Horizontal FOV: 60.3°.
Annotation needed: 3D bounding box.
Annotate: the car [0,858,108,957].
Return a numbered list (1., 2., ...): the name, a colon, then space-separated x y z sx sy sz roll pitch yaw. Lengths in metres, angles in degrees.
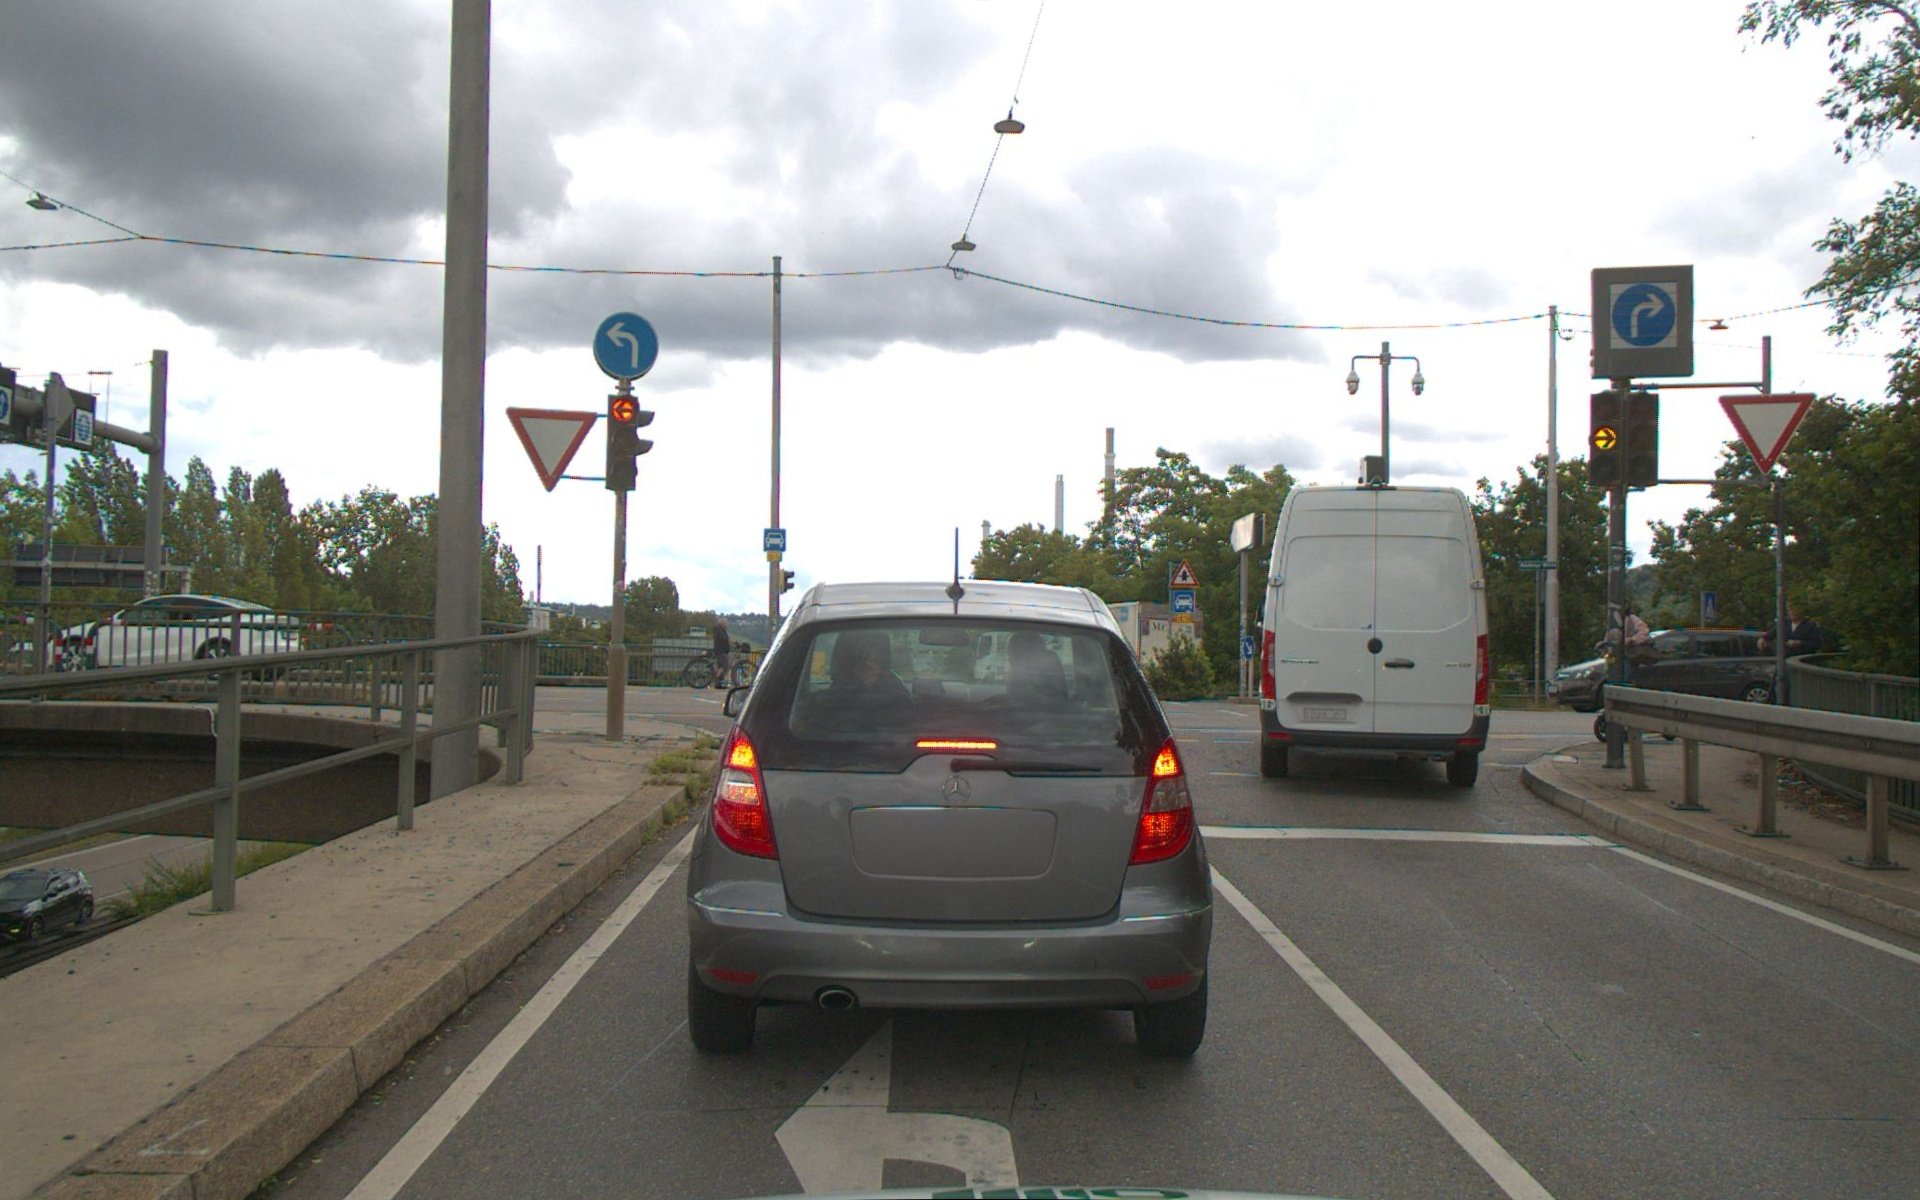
1. car: -23.626 7.722 41.781 1.953 1.874 4.422 -1 -3 -1

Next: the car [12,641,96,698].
1. car: -38.981 2.954 71.241 1.819 2.254 3.659 0 1 -5

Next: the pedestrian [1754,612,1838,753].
1. pedestrian: 10.158 0.982 20.097 0.770 1.647 0.673 1 0 41

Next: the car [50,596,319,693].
1. car: -14.844 0.826 31.788 4.298 1.747 1.939 0 0 7

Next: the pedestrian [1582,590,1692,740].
1. pedestrian: 7.895 0.760 19.331 0.816 1.707 0.978 0 -3 -4

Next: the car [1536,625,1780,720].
1. car: 13.265 1.362 31.594 3.904 1.694 1.813 0 0 2

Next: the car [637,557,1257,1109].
1. car: 0.005 0.655 6.877 1.819 1.616 4.001 0 1 1

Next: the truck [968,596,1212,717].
1. truck: 4.059 1.698 55.070 2.762 3.580 10.138 0 1 -31

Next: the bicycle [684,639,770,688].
1. bicycle: -5.637 1.523 39.947 1.996 1.144 0.927 0 0 -12

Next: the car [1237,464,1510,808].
1. car: 3.986 0.259 17.104 2.065 2.832 6.785 0 1 8

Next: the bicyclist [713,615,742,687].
1. bicyclist: -5.624 1.232 39.960 0.641 1.703 0.867 0 0 -11
